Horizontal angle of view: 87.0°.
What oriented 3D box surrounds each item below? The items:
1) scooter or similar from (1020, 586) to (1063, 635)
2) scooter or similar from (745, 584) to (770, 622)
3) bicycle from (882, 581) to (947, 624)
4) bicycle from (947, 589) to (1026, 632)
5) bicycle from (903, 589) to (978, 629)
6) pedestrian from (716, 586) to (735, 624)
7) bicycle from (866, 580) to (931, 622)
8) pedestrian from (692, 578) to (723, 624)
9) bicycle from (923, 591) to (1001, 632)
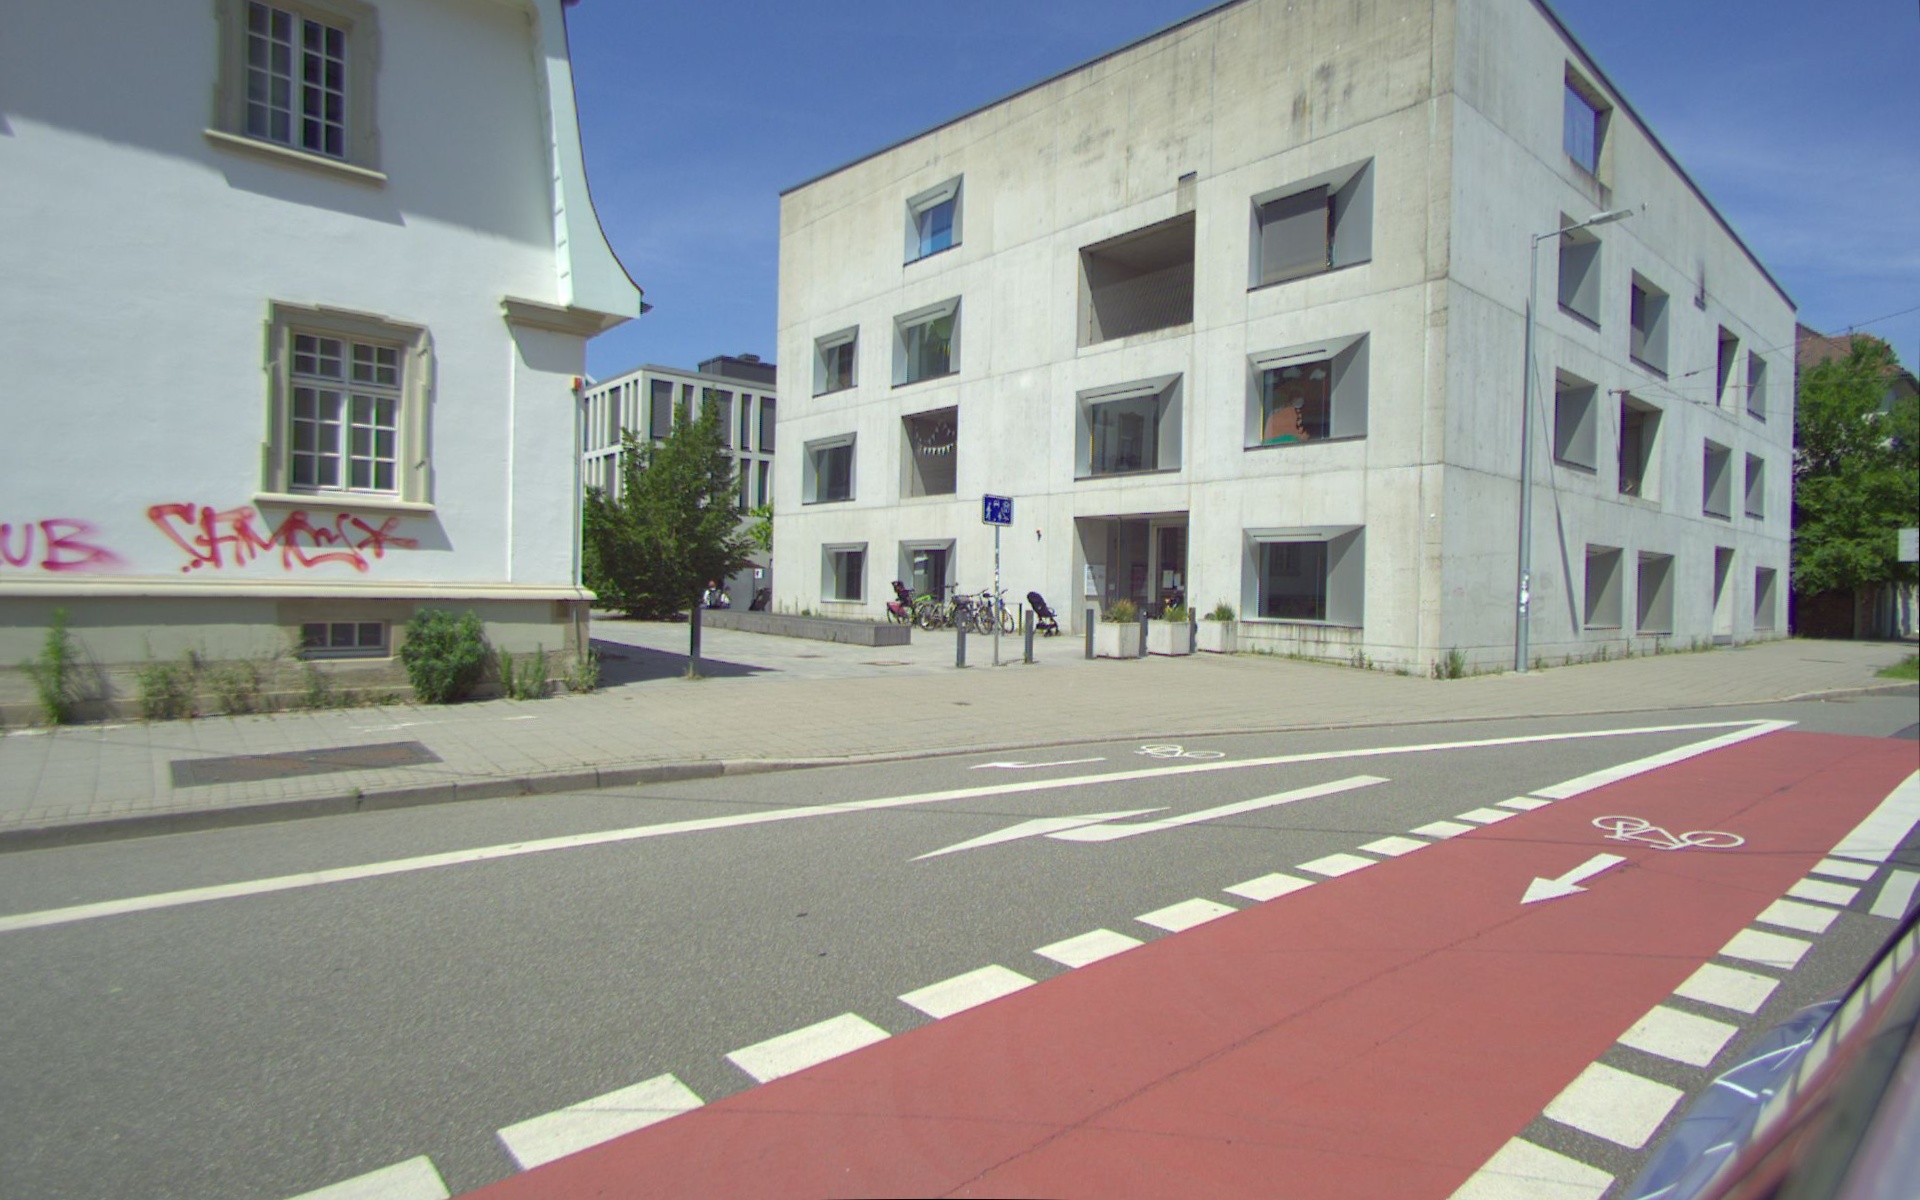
[{"bbox_3d":[1.987,0.259,24.596,0.532,1.154,0.948,2,1,43],"label":"scooter or similar"},{"bbox_3d":[-5.933,0.074,29.687,0.516,1.098,0.577,0,1,-36],"label":"scooter or similar"},{"bbox_3d":[-1.237,0.061,27.942,0.650,1.146,1.859,2,1,43],"label":"bicycle"},{"bbox_3d":[0.678,0.250,25.051,0.650,1.016,2.166,2,1,43],"label":"bicycle"},{"bbox_3d":[-0.496,0.217,26.602,0.650,0.997,2.166,2,1,43],"label":"bicycle"},{"bbox_3d":[-6.675,0.147,28.817,0.460,1.057,0.515,1,0,-21],"label":"pedestrian"},{"bbox_3d":[-1.711,0.031,28.501,0.650,1.129,1.901,2,1,43],"label":"bicycle"},{"bbox_3d":[-7.037,0.023,28.183,0.622,1.265,0.647,0,1,-36],"label":"pedestrian"},{"bbox_3d":[0.071,0.279,25.572,0.650,0.997,2.166,2,1,43],"label":"bicycle"}]
